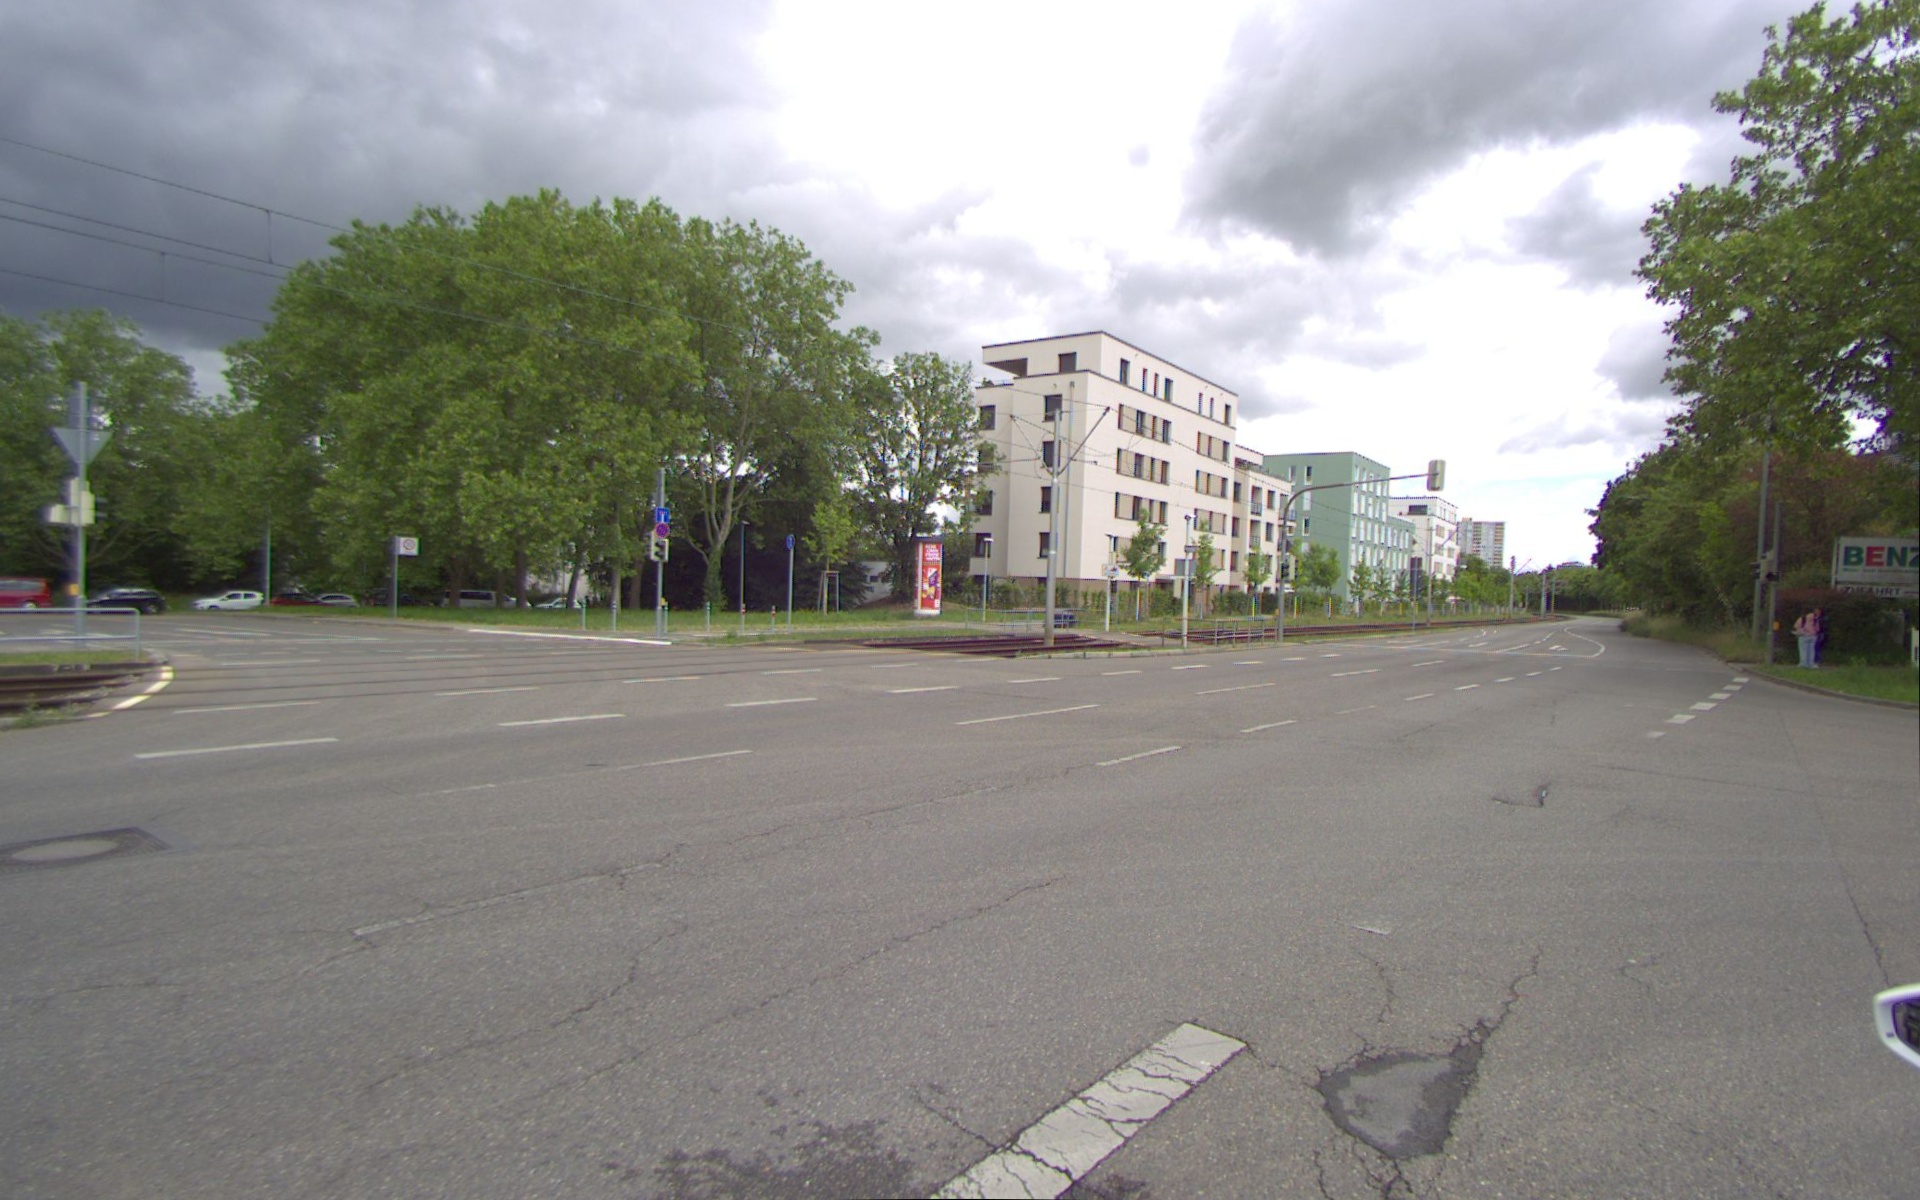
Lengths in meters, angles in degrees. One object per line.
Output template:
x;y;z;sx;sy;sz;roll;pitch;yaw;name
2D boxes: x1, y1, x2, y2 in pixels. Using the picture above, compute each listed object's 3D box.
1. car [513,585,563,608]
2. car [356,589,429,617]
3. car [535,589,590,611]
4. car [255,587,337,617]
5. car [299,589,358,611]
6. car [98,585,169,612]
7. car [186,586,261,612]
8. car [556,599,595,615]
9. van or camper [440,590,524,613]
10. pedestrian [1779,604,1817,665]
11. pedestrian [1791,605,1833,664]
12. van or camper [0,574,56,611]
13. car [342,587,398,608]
-36.095;-0.281;85.851;3.740;1.752;1.652;2;0;-30;car
-36.846;0.217;65.239;1.638;1.684;3.771;3;0;37;car
-31.876;0.020;80.641;1.672;1.671;3.797;3;2;35;car
-40.022;0.117;60.612;1.639;1.684;3.770;3;0;38;car
-42.438;0.013;67.511;1.428;1.362;3.120;2;1;45;car
-49.006;-0.081;59.557;1.583;1.522;3.120;2;1;45;car
-46.309;-0.026;63.161;1.848;1.557;3.573;2;1;45;car
-34.751;0.633;90.730;3.102;1.362;1.436;1;1;-30;car
-33.327;0.101;70.132;1.835;1.554;4.985;2;1;39;van or camper
21.600;0.881;25.880;0.678;1.509;0.696;3;1;42;pedestrian
22.308;0.898;26.301;0.694;1.509;0.711;2;1;-42;pedestrian
-52.994;-0.428;55.448;2.020;2.052;4.531;2;1;45;van or camper
-47.360;-0.199;80.659;3.386;1.586;1.663;2;0;-7;car
